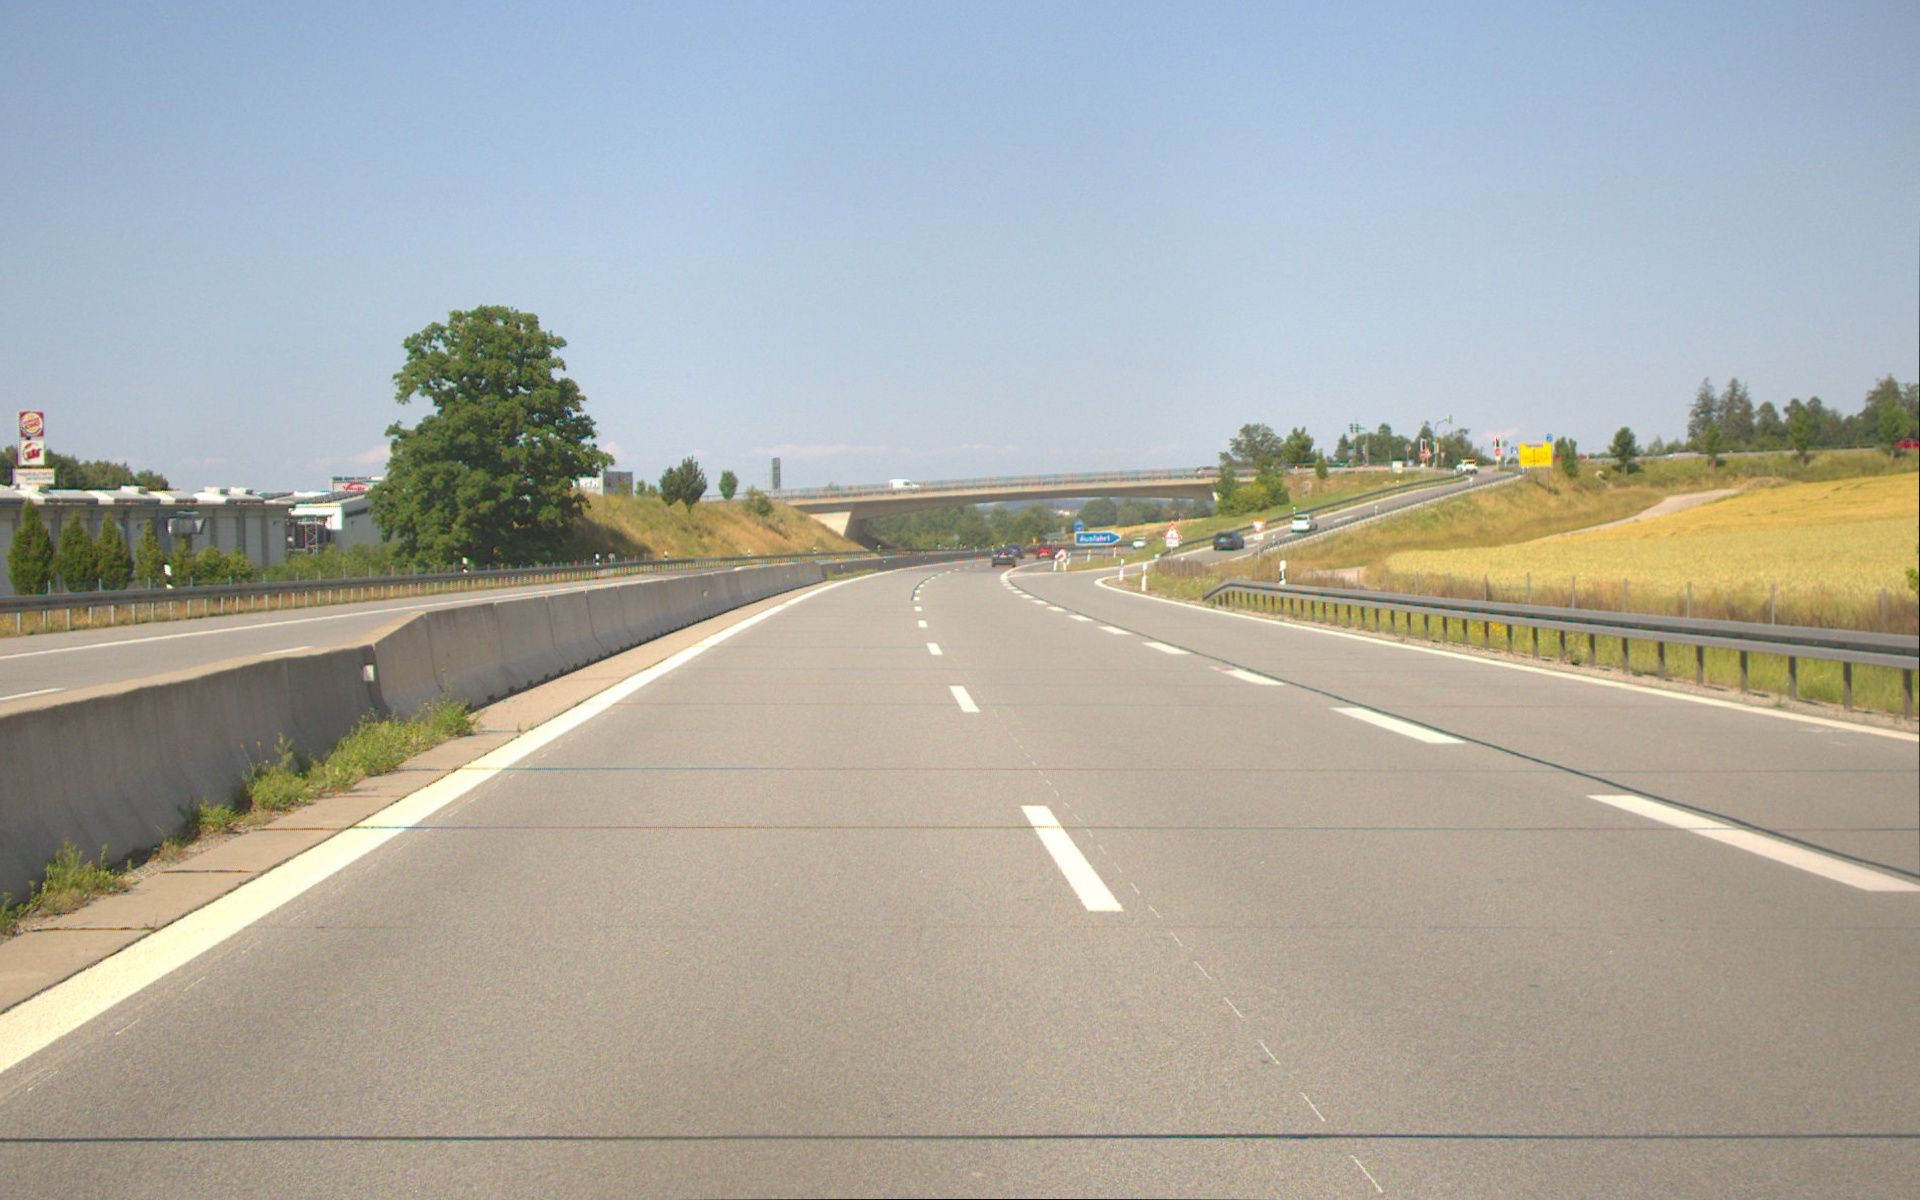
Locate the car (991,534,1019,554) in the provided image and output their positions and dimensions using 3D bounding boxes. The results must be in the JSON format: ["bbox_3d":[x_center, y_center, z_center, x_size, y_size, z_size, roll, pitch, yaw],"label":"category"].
[{"bbox_3d":[3.375,-4.223,256.756,1.994,1.415,4.000,-2,1,2],"label":"car"}]
